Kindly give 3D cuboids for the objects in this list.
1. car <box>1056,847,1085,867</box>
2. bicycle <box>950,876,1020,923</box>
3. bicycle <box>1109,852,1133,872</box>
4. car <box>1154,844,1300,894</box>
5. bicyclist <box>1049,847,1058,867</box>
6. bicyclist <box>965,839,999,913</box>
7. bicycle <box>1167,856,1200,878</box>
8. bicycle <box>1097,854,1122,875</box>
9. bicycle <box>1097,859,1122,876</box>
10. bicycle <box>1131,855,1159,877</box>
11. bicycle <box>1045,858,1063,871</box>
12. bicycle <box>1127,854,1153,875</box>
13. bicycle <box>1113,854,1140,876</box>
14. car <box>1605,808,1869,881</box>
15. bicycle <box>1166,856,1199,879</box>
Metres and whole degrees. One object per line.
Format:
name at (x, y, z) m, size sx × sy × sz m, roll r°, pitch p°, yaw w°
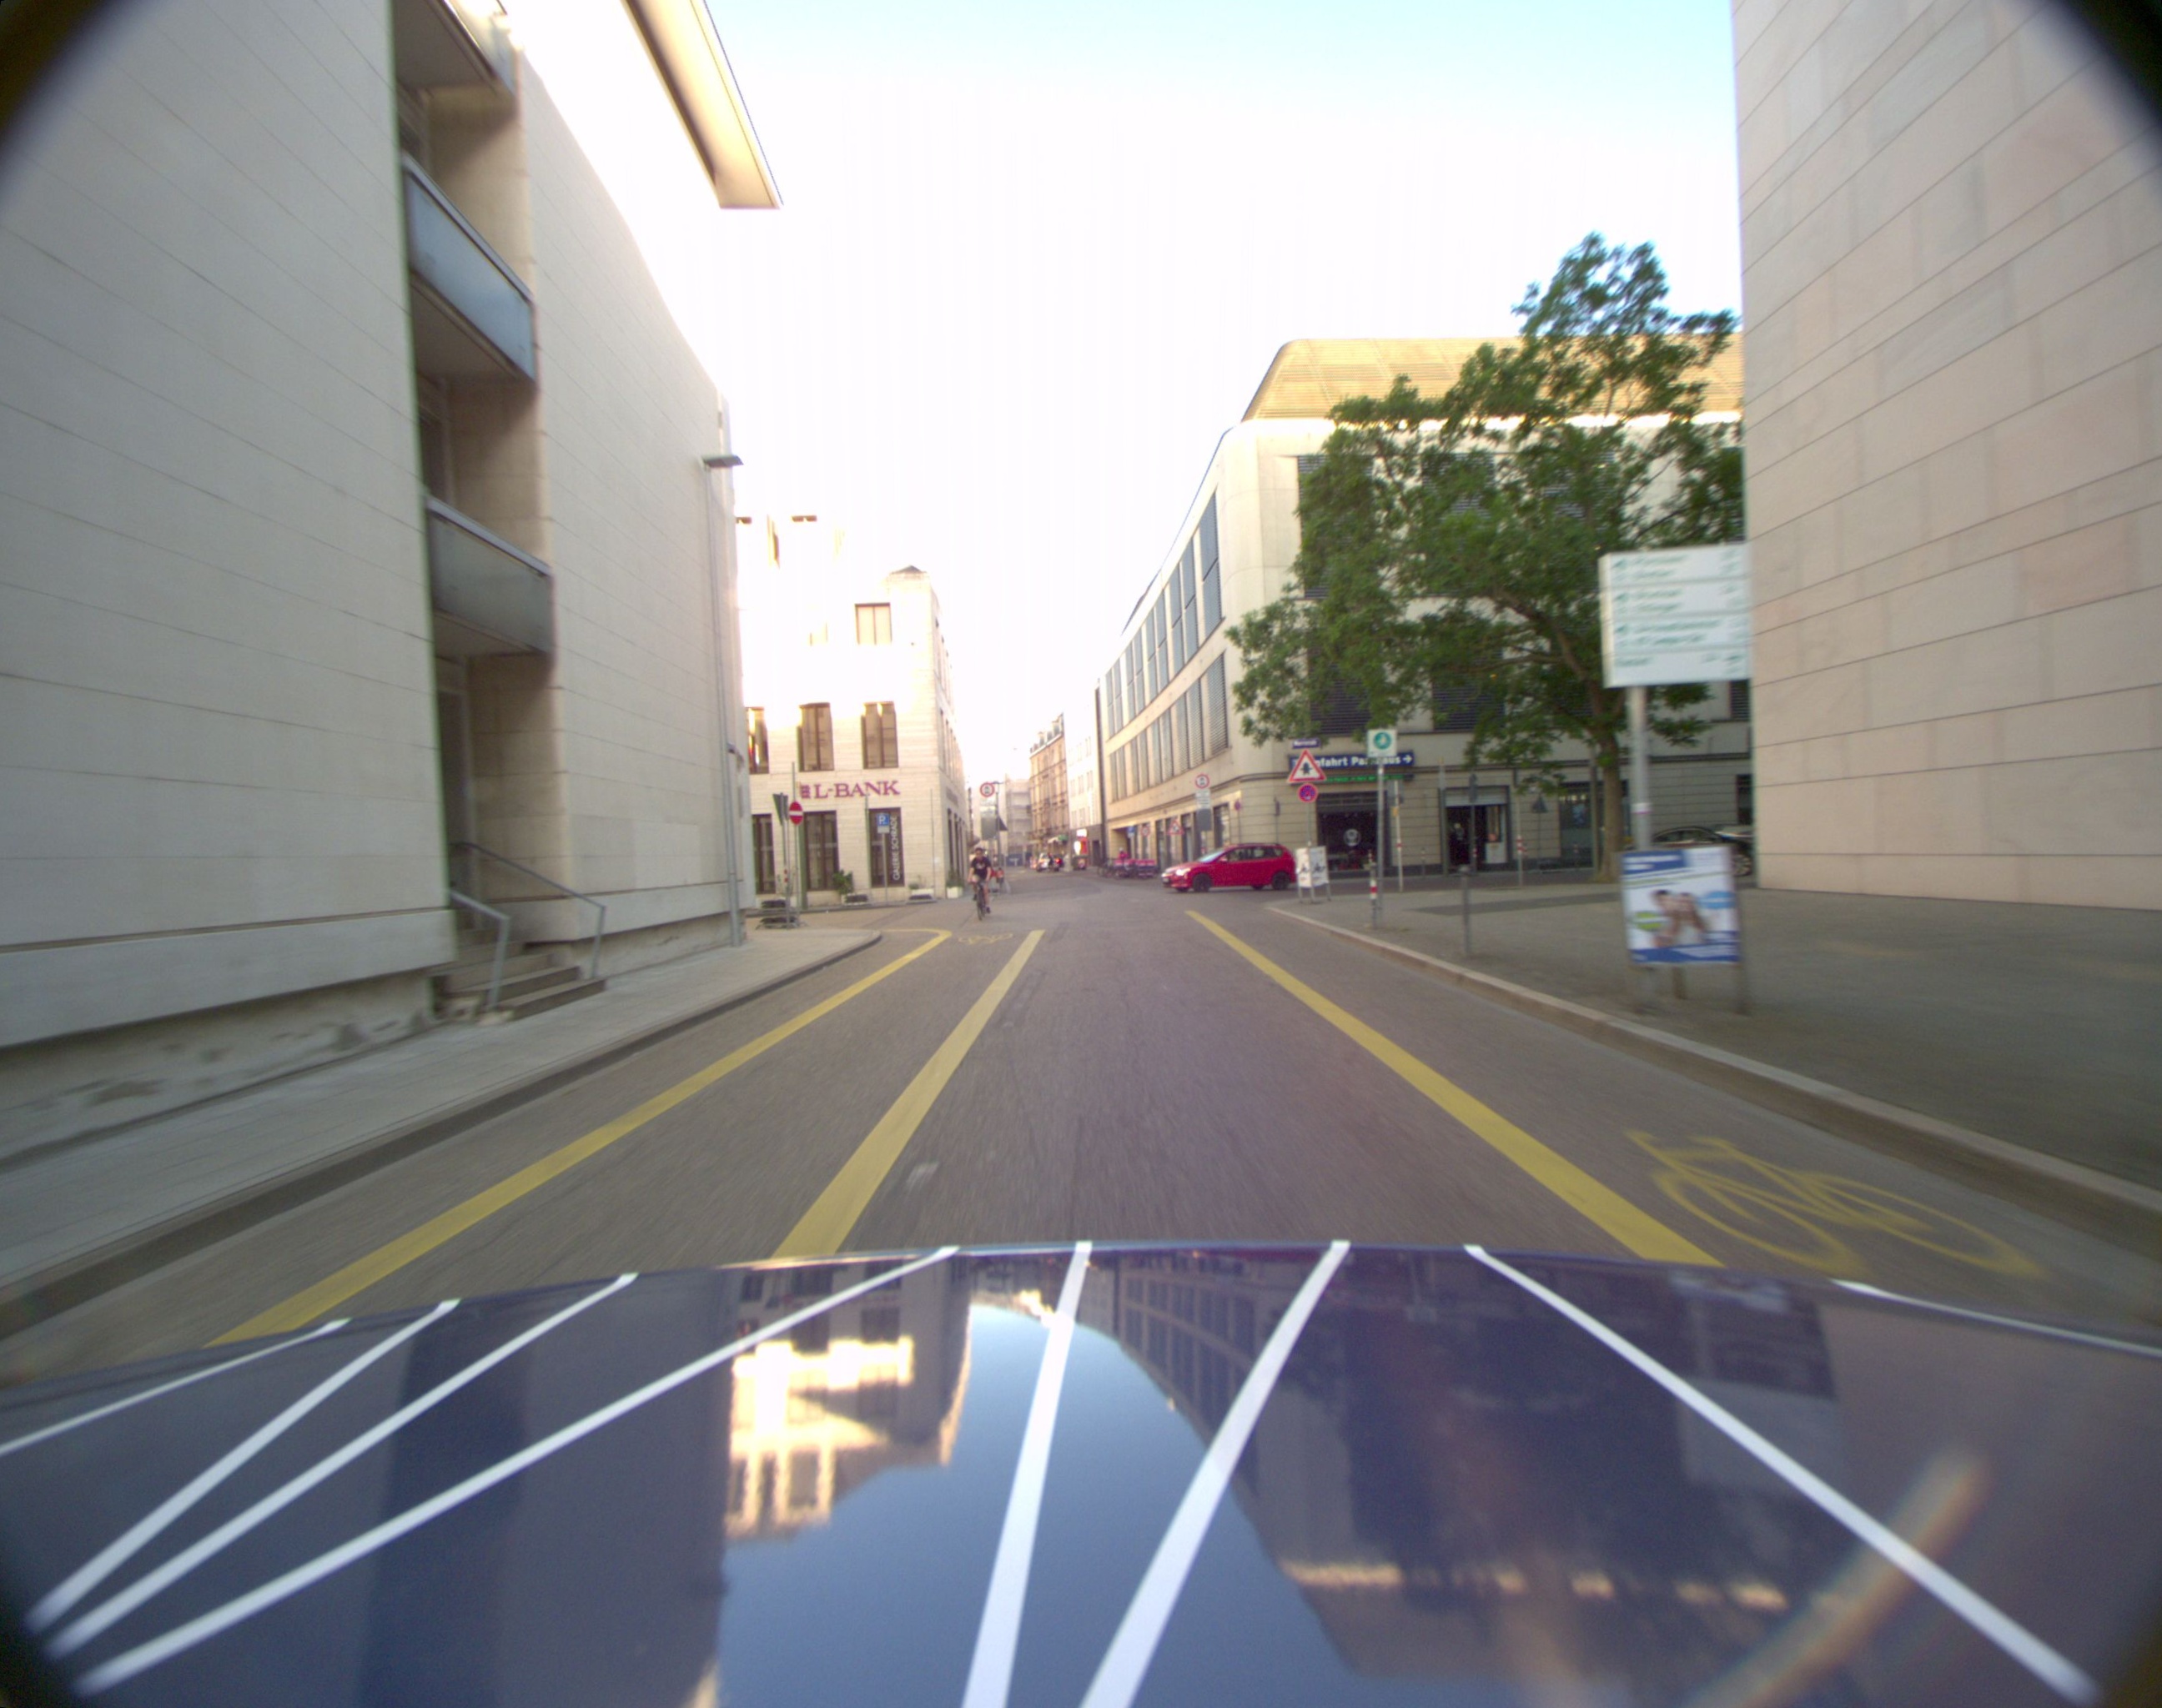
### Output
car at (-0.971, 0.273, 68.568) m, size 2.177 × 1.652 × 3.996 m, roll -2°, pitch 2°, yaw -7°
bicycle at (-2.301, 1.075, 18.393) m, size 0.510 × 0.968 × 1.824 m, roll -1°, pitch 2°, yaw 38°
bicycle at (2.637, 0.542, 49.729) m, size 1.517 × 1.243 × 0.353 m, roll -2°, pitch 2°, yaw 8°
car at (4.712, 0.447, 24.627) m, size 4.265 × 1.456 × 1.826 m, roll -1°, pitch 1°, yaw -14°
bicyclist at (-2.233, 0.248, 61.682) m, size 0.498 × 1.616 × 0.630 m, roll -3°, pitch 2°, yaw -29°
bicyclist at (-2.374, 0.512, 18.264) m, size 0.500 × 1.722 × 0.553 m, roll 0°, pitch 3°, yaw 40°
bicycle at (5.000, 0.638, 36.993) m, size 1.516 × 1.027 × 0.353 m, roll -3°, pitch 1°, yaw 17°
bicycle at (1.783, 0.671, 48.064) m, size 1.517 × 1.243 × 0.353 m, roll -2°, pitch 2°, yaw 5°
bicycle at (1.794, 0.839, 47.146) m, size 1.518 × 0.947 × 0.353 m, roll -2°, pitch 2°, yaw 1°
bicycle at (3.690, 0.688, 43.876) m, size 1.518 × 1.243 × 0.353 m, roll -2°, pitch 2°, yaw 1°
bicycle at (-2.172, 0.852, 61.629) m, size 0.519 × 0.989 × 2.104 m, roll -3°, pitch 2°, yaw -30°
bicycle at (3.651, 0.638, 46.973) m, size 1.516 × 1.243 × 0.353 m, roll -2°, pitch 2°, yaw 13°
bicycle at (2.668, 0.649, 44.962) m, size 1.516 × 1.243 × 0.353 m, roll -2°, pitch 2°, yaw 13°
car at (16.255, -0.121, 19.315) m, size 1.999 × 1.442 × 5.021 m, roll -2°, pitch -3°, yaw -5°
bicycle at (4.891, 0.637, 36.620) m, size 1.516 × 1.027 × 0.353 m, roll -3°, pitch 1°, yaw 17°
